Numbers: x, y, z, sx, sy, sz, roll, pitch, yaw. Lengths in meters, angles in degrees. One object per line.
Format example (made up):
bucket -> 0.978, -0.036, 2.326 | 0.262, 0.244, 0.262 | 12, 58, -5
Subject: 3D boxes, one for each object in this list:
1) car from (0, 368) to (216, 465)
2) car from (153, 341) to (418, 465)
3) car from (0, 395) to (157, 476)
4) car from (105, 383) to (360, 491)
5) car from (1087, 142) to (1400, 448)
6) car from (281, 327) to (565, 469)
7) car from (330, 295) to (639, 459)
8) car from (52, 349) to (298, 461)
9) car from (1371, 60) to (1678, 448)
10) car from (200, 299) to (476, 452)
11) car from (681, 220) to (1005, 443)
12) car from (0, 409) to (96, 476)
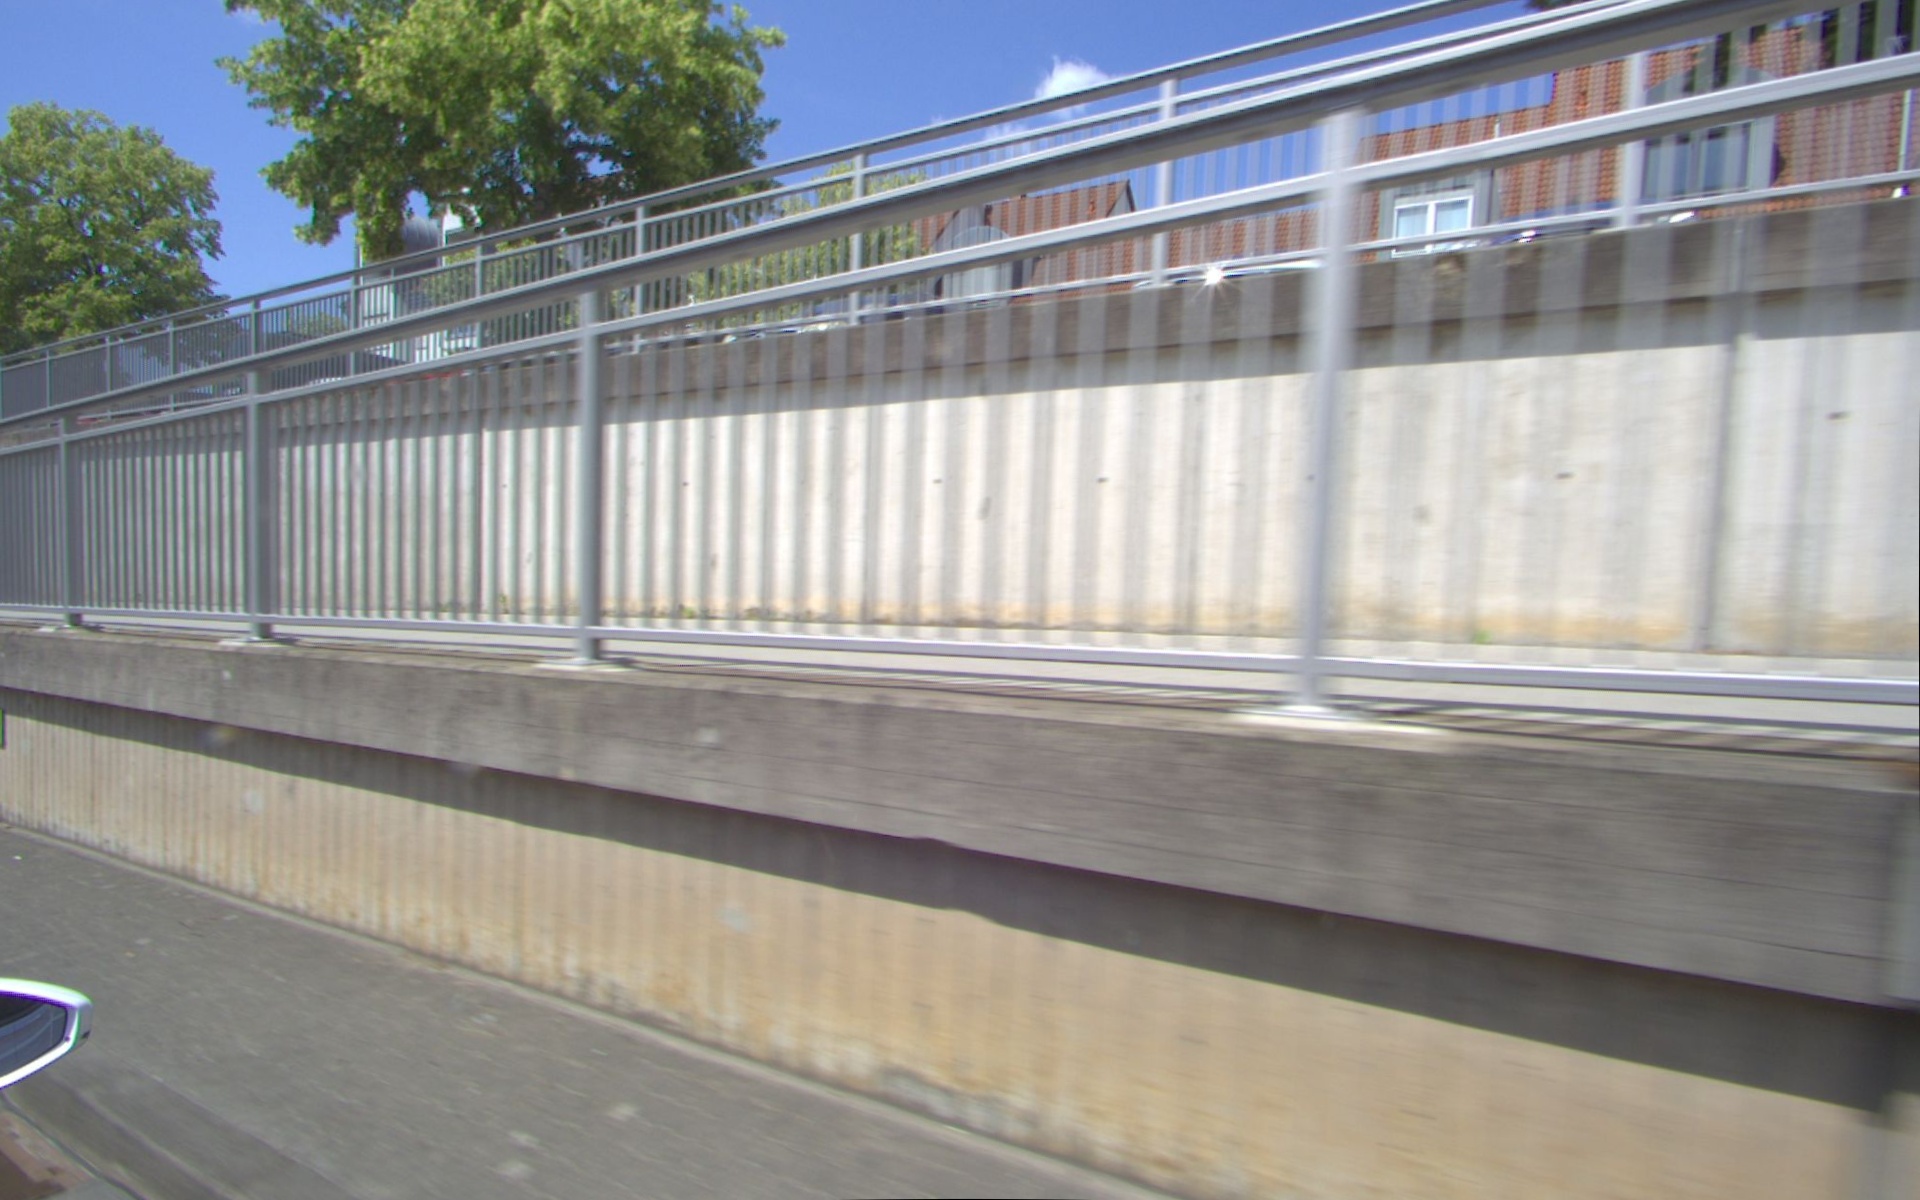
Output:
car -> -20.875, -4.383, 24.478 | 1.746, 1.505, 3.975 | 0, -1, 35
car -> -13.048, -3.722, 19.587 | 1.746, 1.505, 3.975 | 0, -1, 35
car -> -23.932, -4.324, 26.416 | 1.746, 1.505, 3.975 | 0, -1, 35
car -> -15.047, -3.291, 20.910 | 1.746, 1.505, 3.975 | 0, -1, 35
car -> 2.889, -2.596, 9.581 | 1.701, 1.576, 3.976 | 0, 0, 35
car -> -9.075, -3.326, 17.222 | 1.746, 1.505, 3.975 | 0, -1, 35
car -> -7.131, -3.246, 15.380 | 1.746, 1.505, 3.975 | 0, -1, 35
car -> -17.270, -4.197, 22.202 | 1.746, 1.588, 3.975 | 0, -1, 35
car -> 4.635, -2.349, 7.999 | 1.701, 1.576, 3.976 | 0, 0, 35
car -> -11.283, -3.971, 18.419 | 1.746, 1.793, 3.975 | 0, -1, 35
car -> -1.244, -3.035, 12.207 | 1.746, 1.505, 3.975 | 0, -1, 35
car -> -27.317, -4.558, 28.402 | 1.746, 1.505, 3.975 | 0, -1, 35
